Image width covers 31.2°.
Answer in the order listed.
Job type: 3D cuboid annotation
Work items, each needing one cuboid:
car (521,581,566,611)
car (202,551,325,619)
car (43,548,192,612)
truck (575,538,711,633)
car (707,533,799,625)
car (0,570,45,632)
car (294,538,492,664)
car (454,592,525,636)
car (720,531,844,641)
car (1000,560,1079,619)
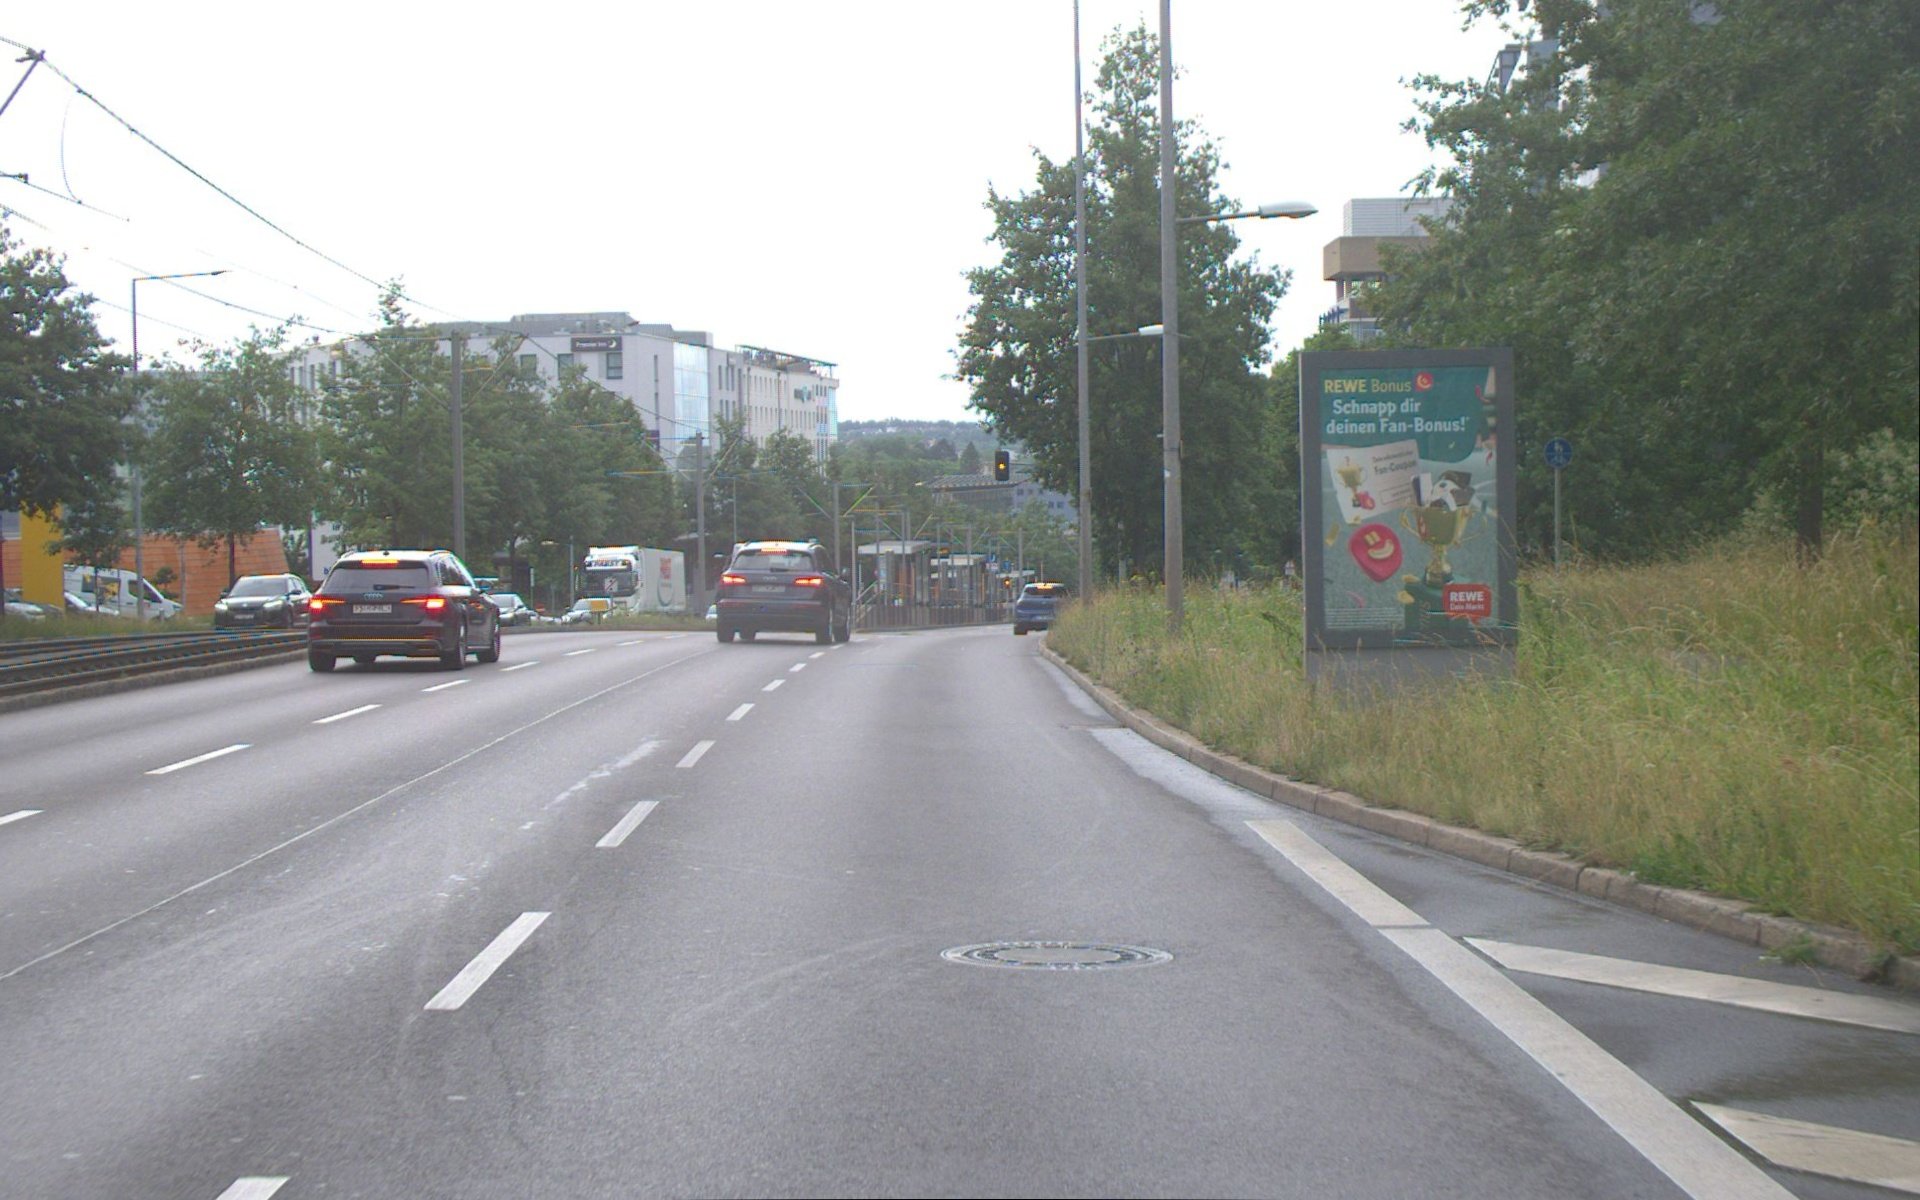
[{"bbox_3d":[-21.640,-0.195,178.610,1.667,1.457,4.238,1,-1,2],"label":"car"},{"bbox_3d":[-17.327,-0.356,85.674,1.805,1.611,4.385,1,-1,5],"label":"car"},{"bbox_3d":[-32.011,-0.748,130.606,5.301,2.305,2.021,1,-1,-18],"label":"car"},{"bbox_3d":[-14.772,-0.721,161.924,3.042,4.166,17.198,1,1,6],"label":"truck"},{"bbox_3d":[-5.332,-0.566,88.219,2.267,2.277,4.760,1,1,-4],"label":"car"},{"bbox_3d":[-32.264,0.051,111.682,4.601,1.969,2.020,0,0,-2],"label":"car"},{"bbox_3d":[-6.799,-0.029,41.611,1.785,1.409,4.806,1,1,-2],"label":"car"},{"bbox_3d":[-15.968,0.487,116.935,1.667,1.457,4.238,1,-1,2],"label":"car"},{"bbox_3d":[-2.966,-0.263,56.514,1.922,1.705,4.099,1,1,-4],"label":"car"},{"bbox_3d":[2.214,-0.317,96.453,1.789,1.585,4.001,-1,0,-4],"label":"car"}]
